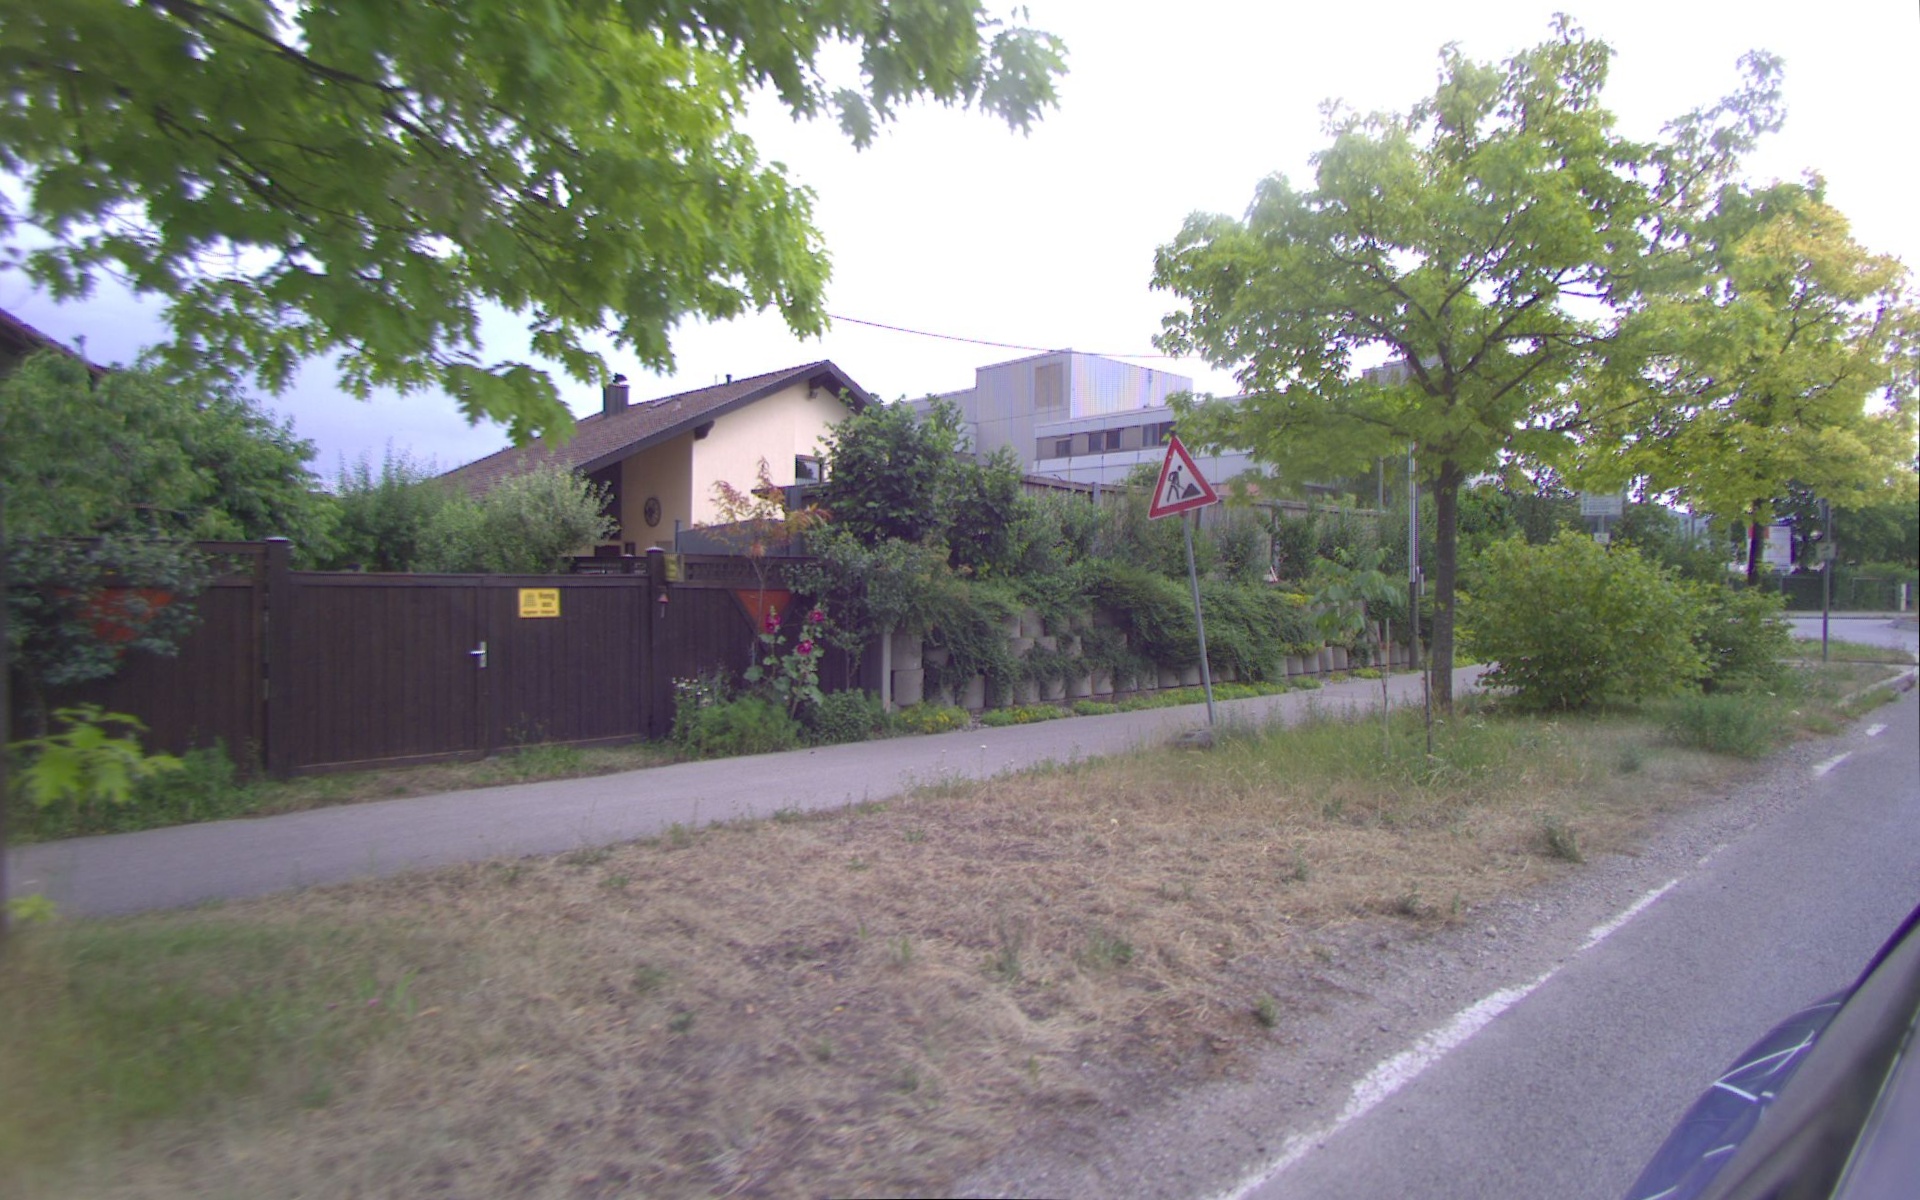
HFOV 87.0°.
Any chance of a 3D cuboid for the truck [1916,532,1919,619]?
[{"bbox_3d":[42.535,-1.015,40.291,7.351,3.491,2.621,-1,0,-11],"label":"truck"}]
